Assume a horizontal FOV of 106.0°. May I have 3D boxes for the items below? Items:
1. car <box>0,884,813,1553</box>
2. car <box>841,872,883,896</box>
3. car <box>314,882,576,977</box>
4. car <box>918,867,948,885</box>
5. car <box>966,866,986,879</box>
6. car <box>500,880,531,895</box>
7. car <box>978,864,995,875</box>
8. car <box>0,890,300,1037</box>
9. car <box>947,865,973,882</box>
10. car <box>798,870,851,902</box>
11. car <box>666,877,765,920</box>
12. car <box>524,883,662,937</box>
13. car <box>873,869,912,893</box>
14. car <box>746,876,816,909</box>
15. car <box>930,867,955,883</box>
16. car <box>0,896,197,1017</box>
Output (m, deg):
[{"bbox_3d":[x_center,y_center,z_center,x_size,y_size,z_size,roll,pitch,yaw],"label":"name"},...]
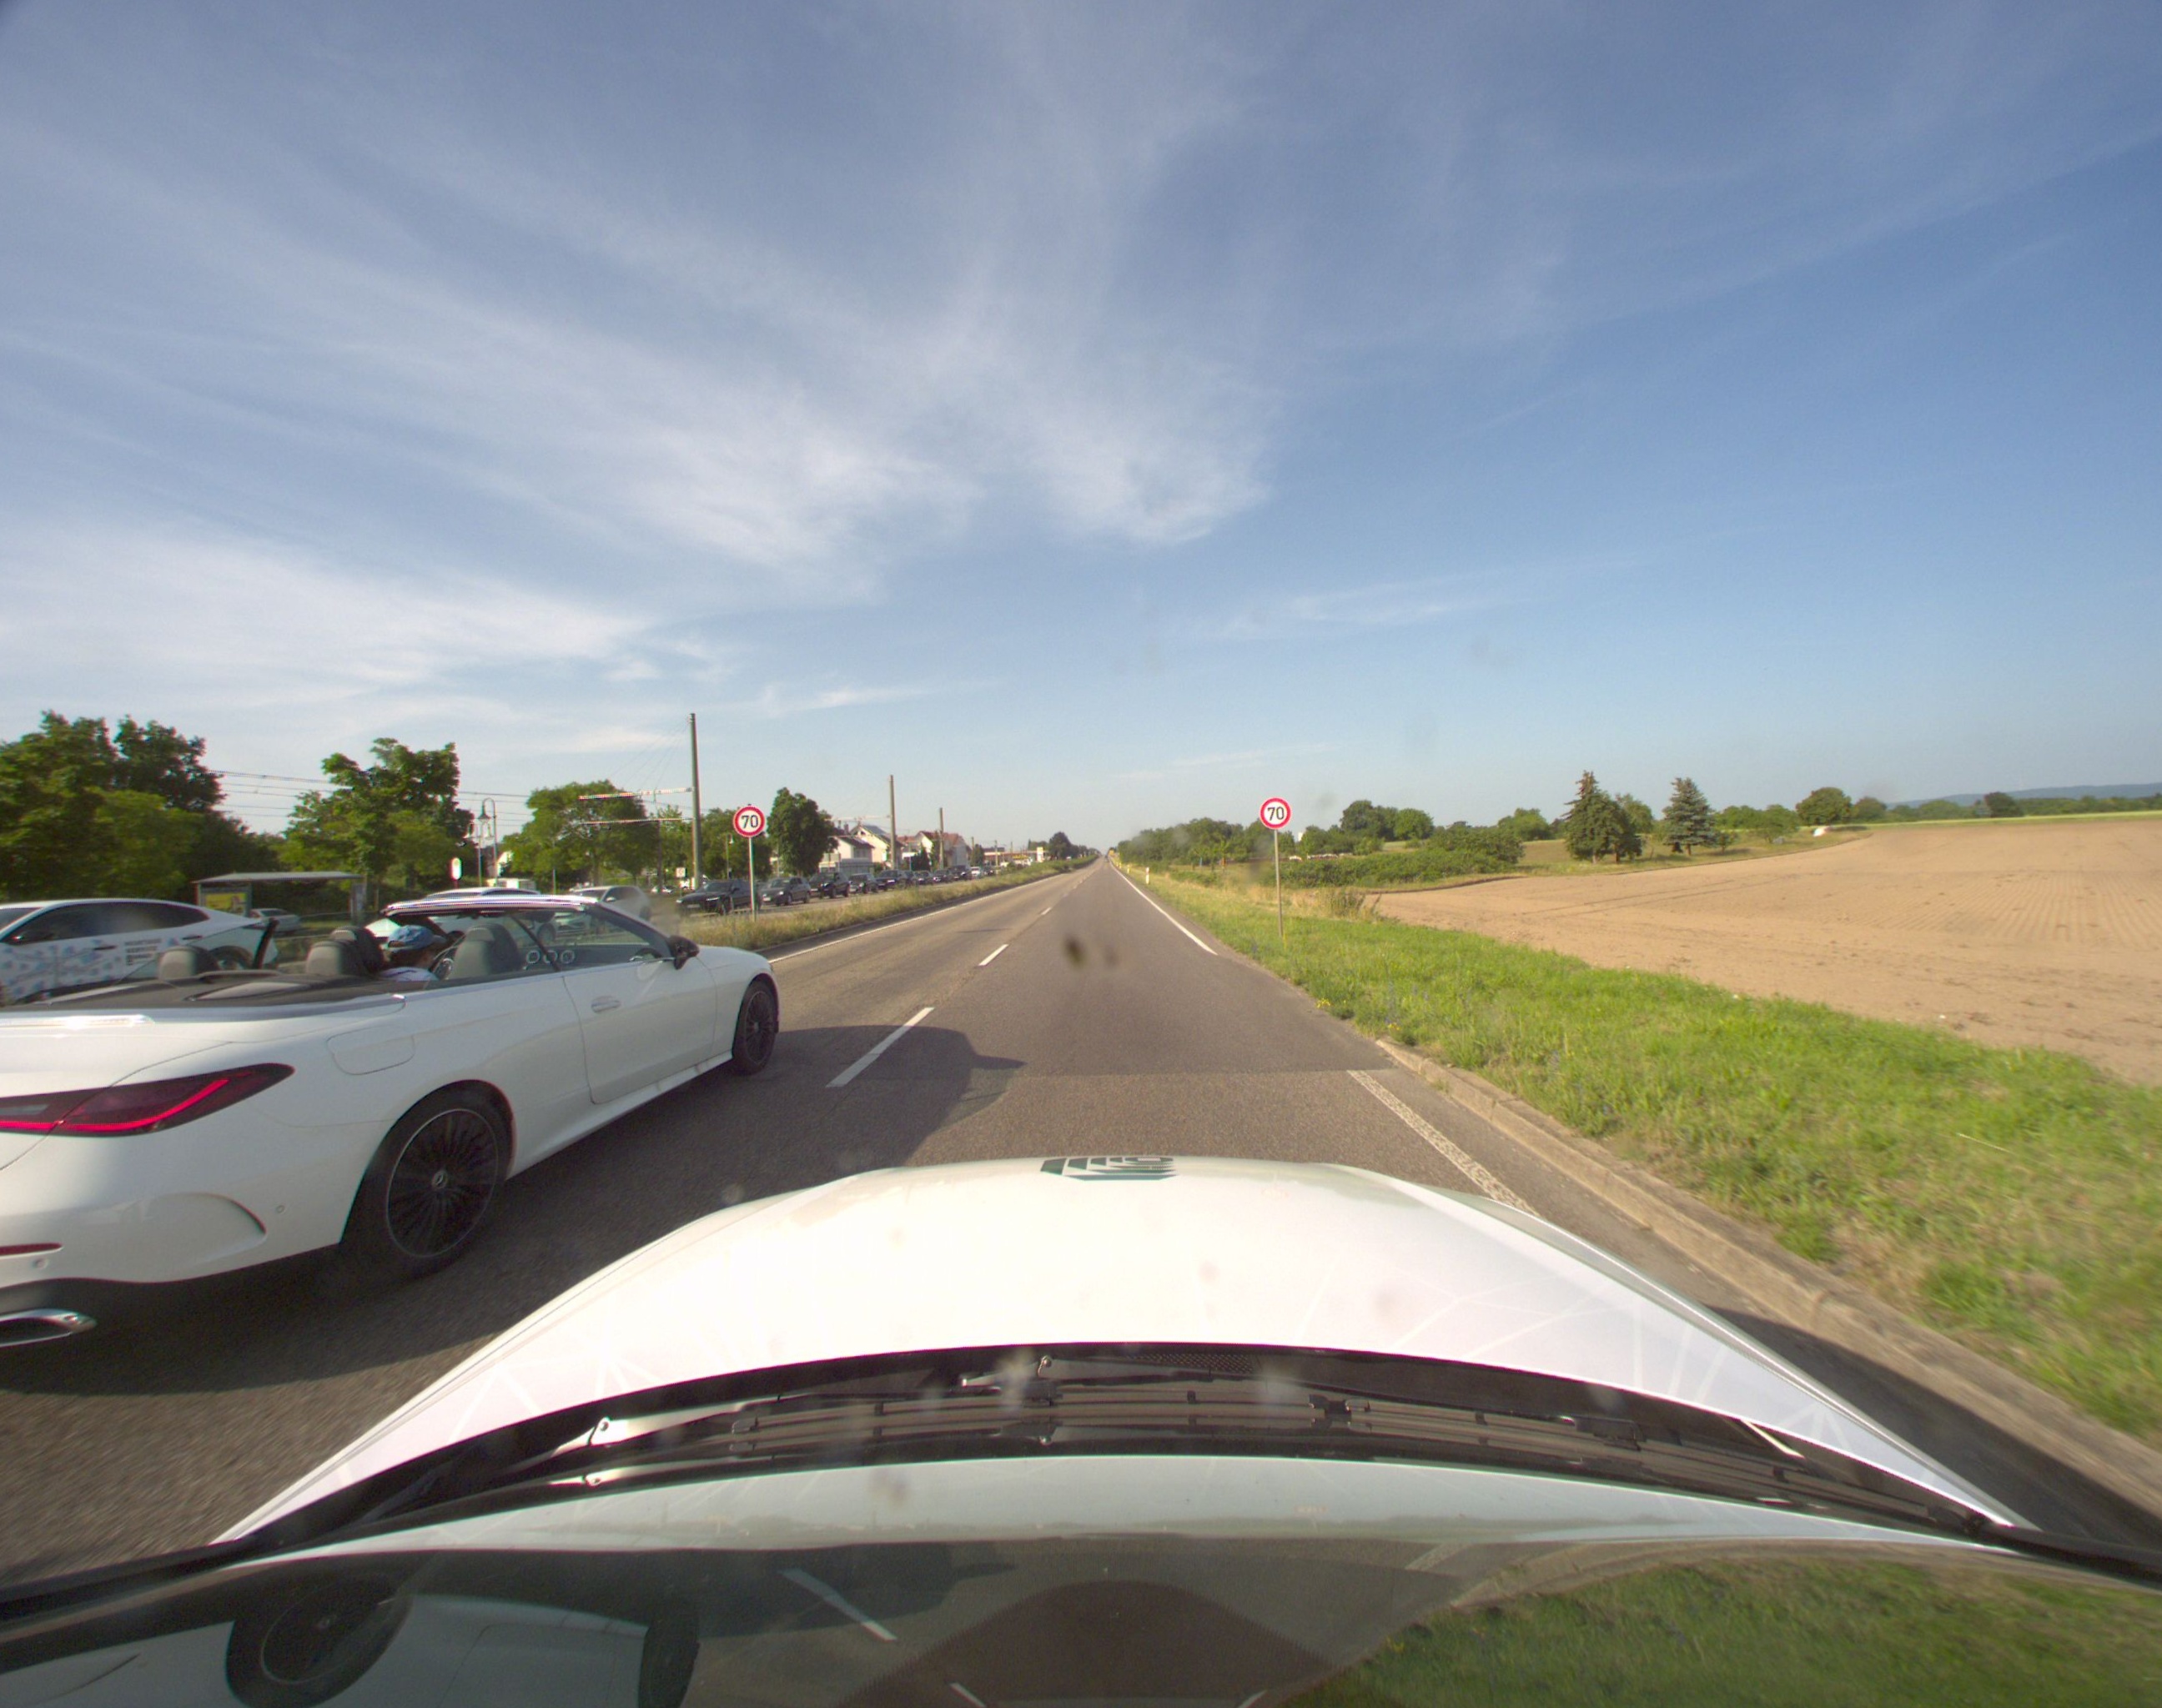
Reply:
[{"bbox_3d":[-3.189,0.908,4.258,1.764,1.337,4.952,-1,-1,2],"label":"car"},{"bbox_3d":[-14.796,1.993,55.220,1.654,1.431,3.806,-4,-1,1],"label":"car"},{"bbox_3d":[-12.753,1.428,16.765,1.812,1.470,4.296,-4,-1,2],"label":"car"},{"bbox_3d":[-13.555,2.019,74.766,1.654,1.431,4.719,-4,-1,1],"label":"car"},{"bbox_3d":[-13.080,2.260,101.452,1.654,1.431,4.450,-4,-1,1],"label":"car"},{"bbox_3d":[-60.653,3.605,87.293,3.575,1.366,1.746,-5,-1,38],"label":"car"},{"bbox_3d":[-13.146,2.181,113.910,1.654,1.431,4.327,-4,-1,1],"label":"car"},{"bbox_3d":[-12.871,1.349,10.104,1.745,1.507,4.585,-4,-1,2],"label":"car"},{"bbox_3d":[-13.603,2.127,91.701,1.908,1.683,5.255,-4,-1,1],"label":"car"},{"bbox_3d":[-15.234,1.854,48.582,1.654,1.687,4.230,-4,-1,1],"label":"car"},{"bbox_3d":[-14.967,1.770,33.667,1.654,1.415,4.977,-4,-1,1],"label":"car"},{"bbox_3d":[-15.851,1.760,26.740,1.654,1.381,4.470,-4,-1,1],"label":"car"},{"bbox_3d":[-14.123,1.976,61.384,1.654,1.562,4.547,-4,-1,1],"label":"car"},{"bbox_3d":[-15.065,1.912,41.112,1.654,1.381,4.543,-4,-1,1],"label":"car"},{"bbox_3d":[-13.922,2.128,81.994,1.654,1.431,4.057,-4,-1,1],"label":"car"},{"bbox_3d":[-16.008,1.555,11.844,1.790,1.590,4.001,-4,-1,1],"label":"car"}]
